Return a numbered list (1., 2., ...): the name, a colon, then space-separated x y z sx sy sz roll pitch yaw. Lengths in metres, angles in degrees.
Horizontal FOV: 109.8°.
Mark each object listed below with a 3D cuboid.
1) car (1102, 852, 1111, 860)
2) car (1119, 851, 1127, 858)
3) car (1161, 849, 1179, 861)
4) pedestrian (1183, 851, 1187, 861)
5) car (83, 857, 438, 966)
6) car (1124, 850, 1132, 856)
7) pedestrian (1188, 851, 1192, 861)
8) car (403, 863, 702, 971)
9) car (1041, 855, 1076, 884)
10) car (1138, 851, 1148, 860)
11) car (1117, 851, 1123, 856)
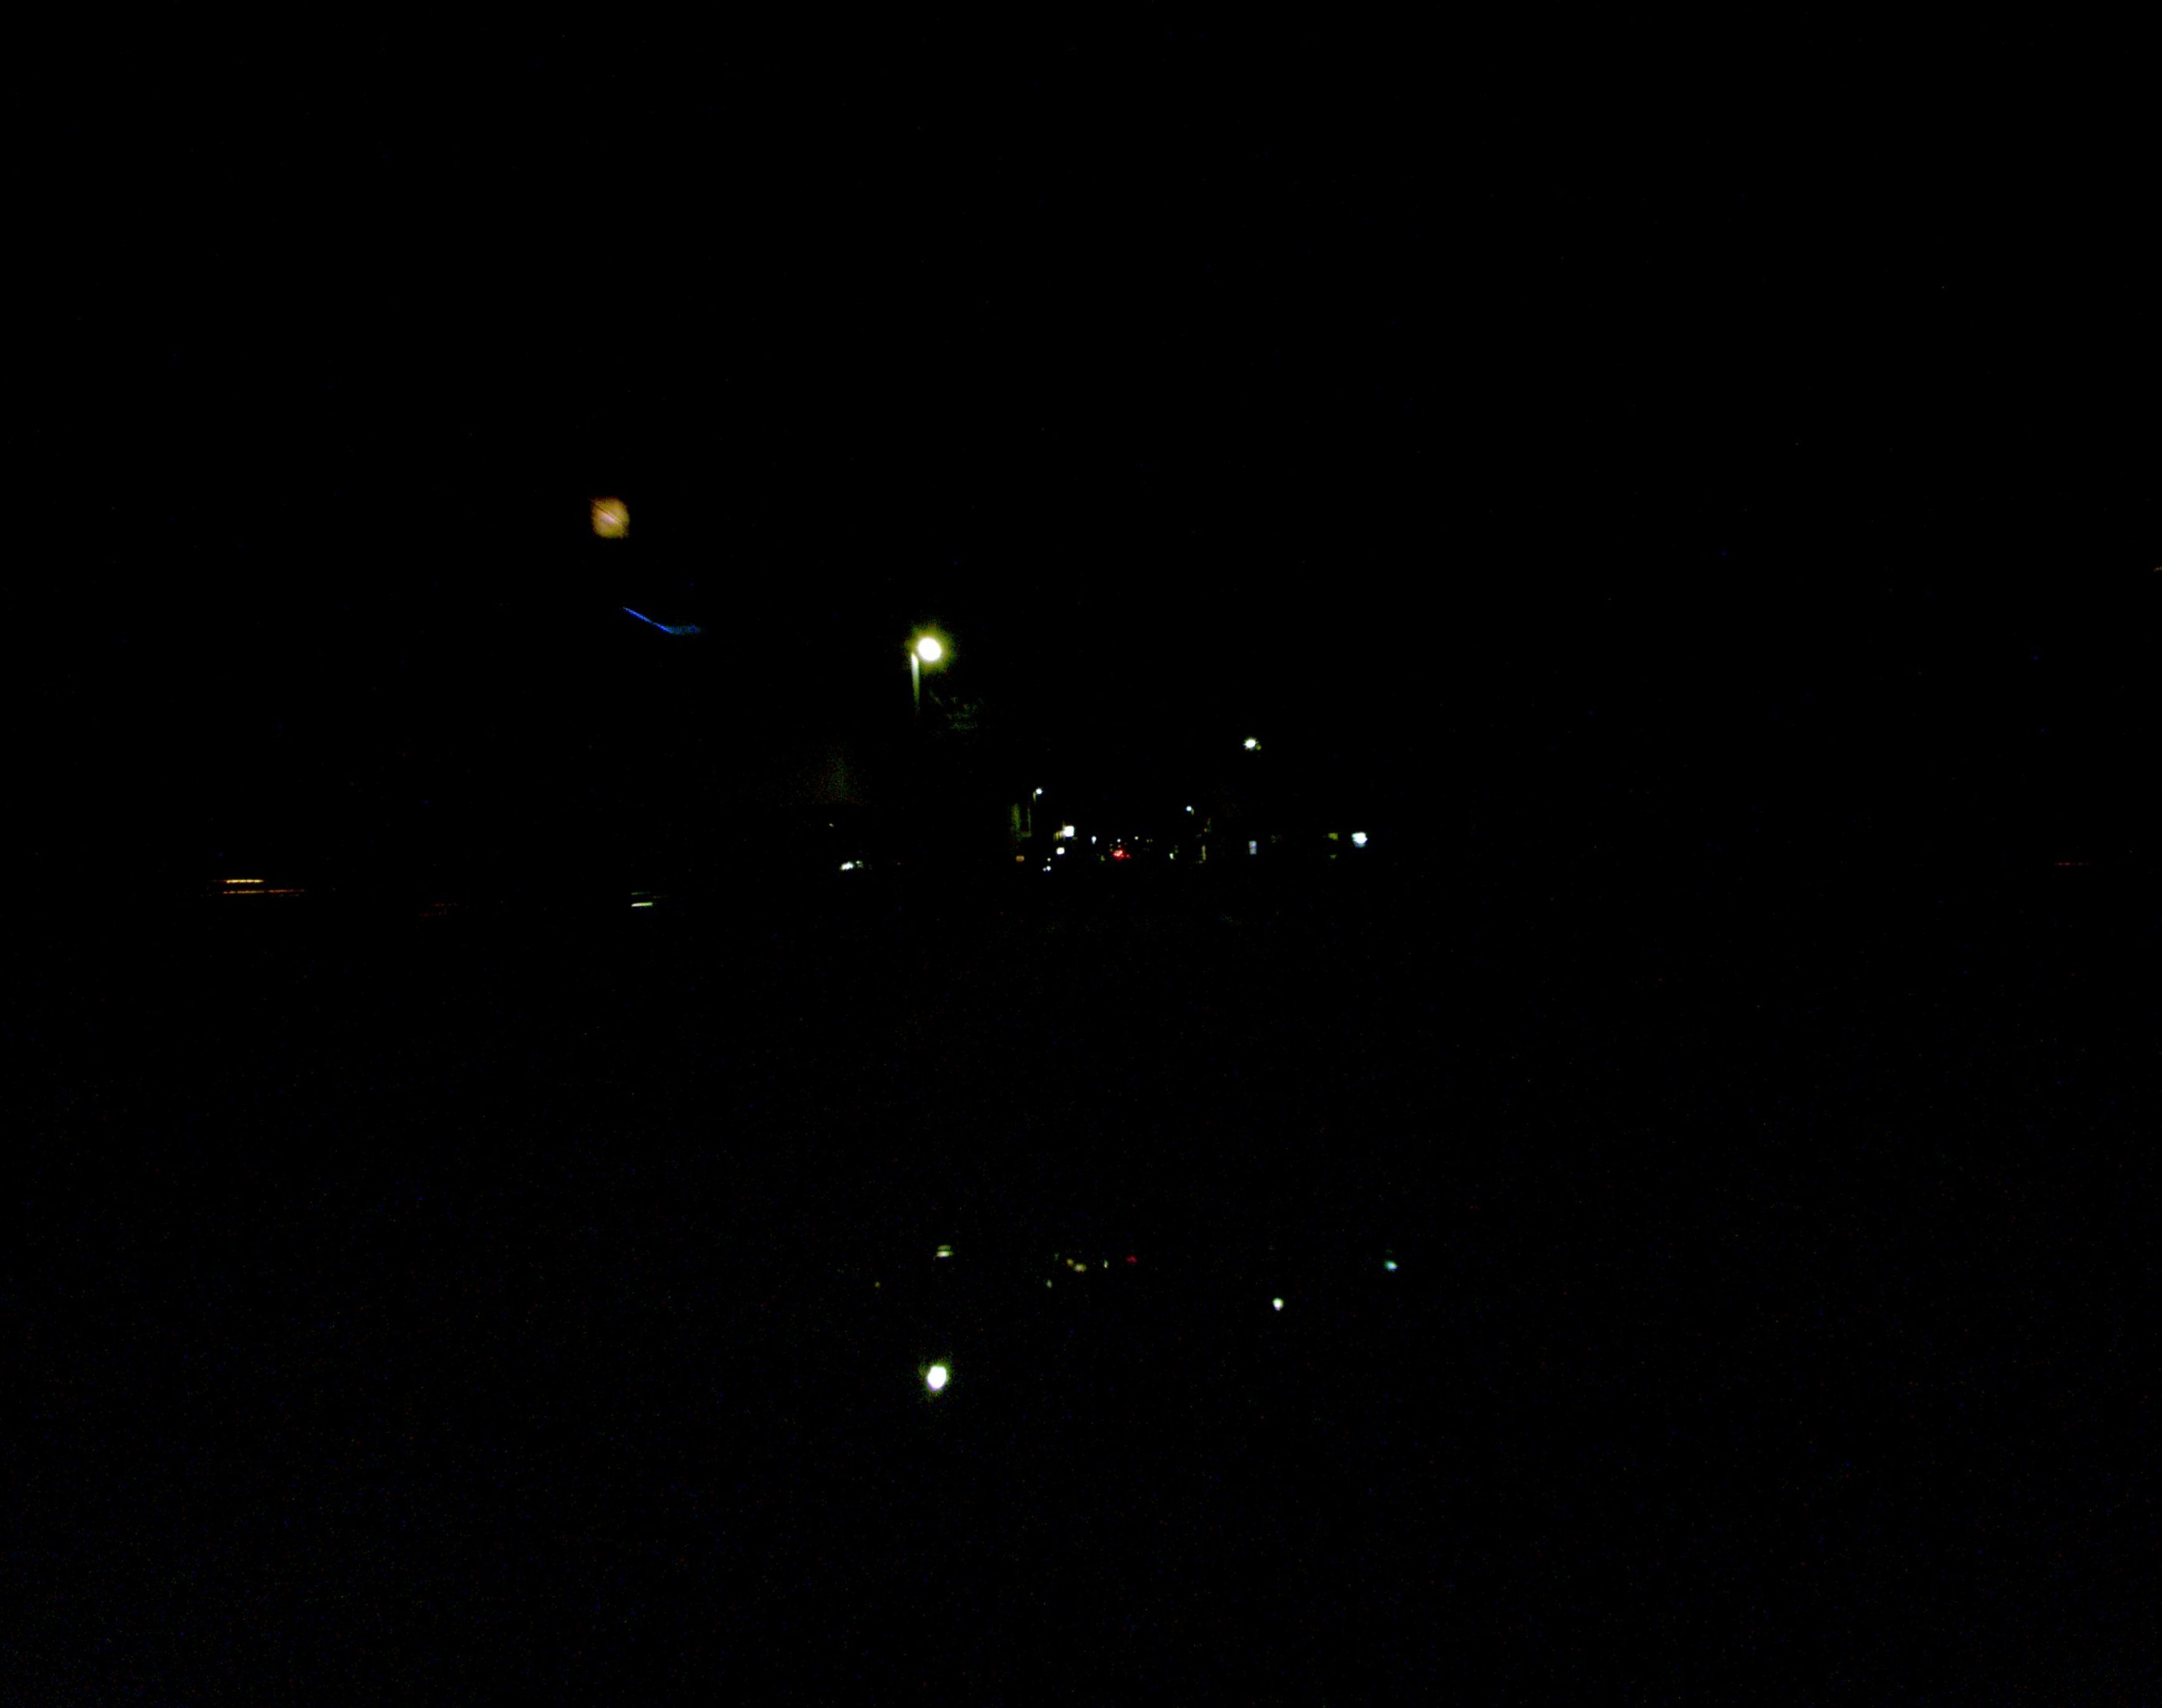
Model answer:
1. car: 4.853 0.468 146.529 1.606 1.474 3.699 -2 0 1
2. car: 11.029 0.117 199.939 1.752 1.635 4.307 -2 0 1
3. car: 11.368 0.116 97.508 1.900 1.411 4.931 -4 0 4
4. pedestrian: 15.872 0.336 116.016 0.529 1.579 0.665 -3 1 -4
5. car: -12.904 0.863 12.130 3.854 1.488 1.676 1 1 0
6. car: 11.255 -0.214 182.256 1.720 1.420 3.816 -2 0 4
7. pedestrian: 16.620 0.327 115.895 0.529 1.579 0.665 -3 1 -6
8. car: -8.299 0.952 12.192 3.514 1.516 1.820 1 1 0
9. car: -1.281 0.872 44.848 1.747 1.560 4.209 -2 0 2
10. car: 12.387 0.226 151.686 1.814 1.637 3.804 -4 0 3
11. car: 11.142 -0.104 218.224 1.821 1.271 3.917 -2 0 3
